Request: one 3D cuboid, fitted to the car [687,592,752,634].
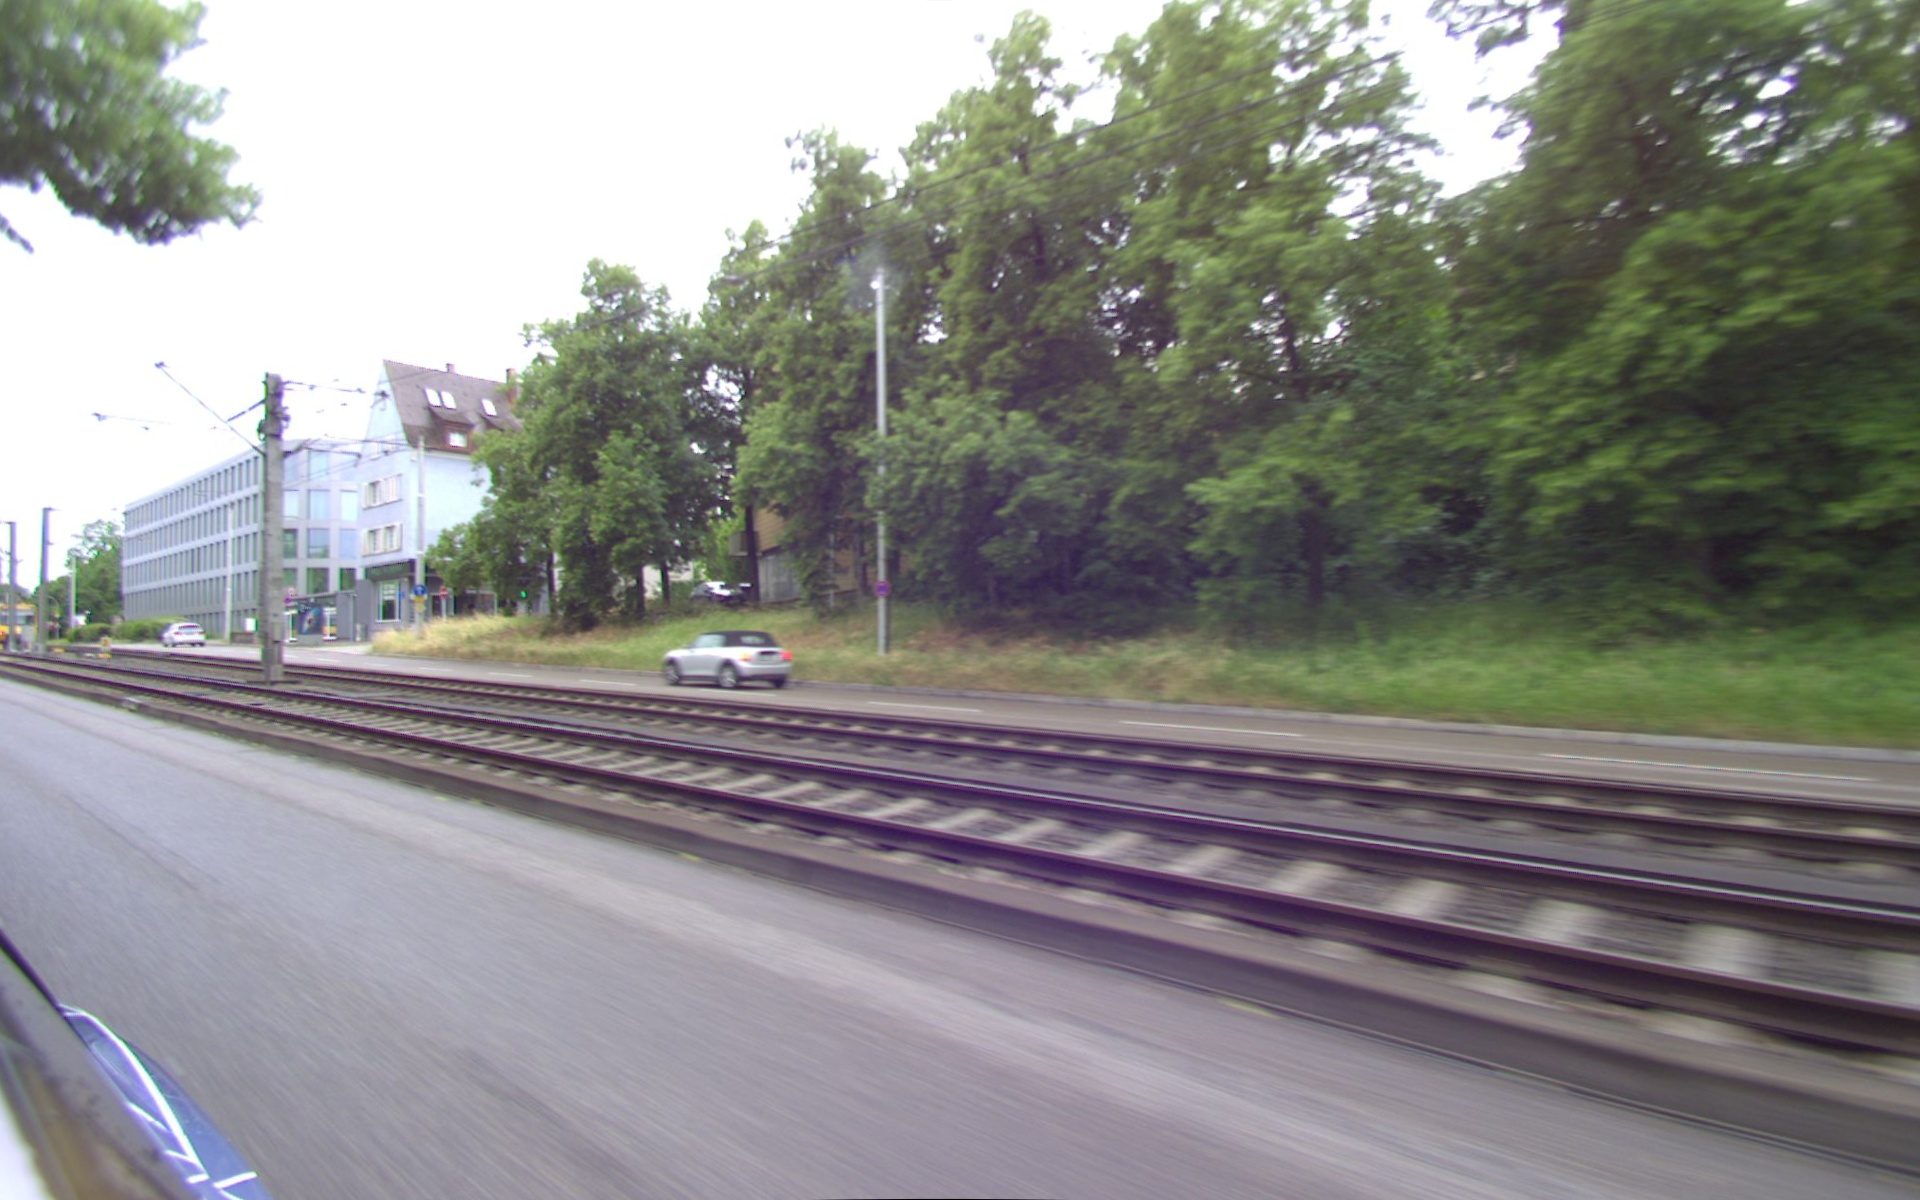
[{"bbox_3d":[-12.342,0.708,51.842,1.934,2.029,4.228,1,-2,-33],"label":"car"}]

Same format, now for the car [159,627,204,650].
[{"bbox_3d":[-52.502,2.594,68.217,4.379,1.541,1.635,-2,-2,42],"label":"car"}]

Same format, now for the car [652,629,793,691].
[{"bbox_3d":[-6.040,1.482,25.523,3.907,1.447,1.460,-1,-4,41],"label":"car"}]

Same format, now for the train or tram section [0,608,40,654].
[{"bbox_3d":[-86.473,2.887,91.377,19.511,3.840,2.936,-2,-2,42],"label":"train or tram section"}]
